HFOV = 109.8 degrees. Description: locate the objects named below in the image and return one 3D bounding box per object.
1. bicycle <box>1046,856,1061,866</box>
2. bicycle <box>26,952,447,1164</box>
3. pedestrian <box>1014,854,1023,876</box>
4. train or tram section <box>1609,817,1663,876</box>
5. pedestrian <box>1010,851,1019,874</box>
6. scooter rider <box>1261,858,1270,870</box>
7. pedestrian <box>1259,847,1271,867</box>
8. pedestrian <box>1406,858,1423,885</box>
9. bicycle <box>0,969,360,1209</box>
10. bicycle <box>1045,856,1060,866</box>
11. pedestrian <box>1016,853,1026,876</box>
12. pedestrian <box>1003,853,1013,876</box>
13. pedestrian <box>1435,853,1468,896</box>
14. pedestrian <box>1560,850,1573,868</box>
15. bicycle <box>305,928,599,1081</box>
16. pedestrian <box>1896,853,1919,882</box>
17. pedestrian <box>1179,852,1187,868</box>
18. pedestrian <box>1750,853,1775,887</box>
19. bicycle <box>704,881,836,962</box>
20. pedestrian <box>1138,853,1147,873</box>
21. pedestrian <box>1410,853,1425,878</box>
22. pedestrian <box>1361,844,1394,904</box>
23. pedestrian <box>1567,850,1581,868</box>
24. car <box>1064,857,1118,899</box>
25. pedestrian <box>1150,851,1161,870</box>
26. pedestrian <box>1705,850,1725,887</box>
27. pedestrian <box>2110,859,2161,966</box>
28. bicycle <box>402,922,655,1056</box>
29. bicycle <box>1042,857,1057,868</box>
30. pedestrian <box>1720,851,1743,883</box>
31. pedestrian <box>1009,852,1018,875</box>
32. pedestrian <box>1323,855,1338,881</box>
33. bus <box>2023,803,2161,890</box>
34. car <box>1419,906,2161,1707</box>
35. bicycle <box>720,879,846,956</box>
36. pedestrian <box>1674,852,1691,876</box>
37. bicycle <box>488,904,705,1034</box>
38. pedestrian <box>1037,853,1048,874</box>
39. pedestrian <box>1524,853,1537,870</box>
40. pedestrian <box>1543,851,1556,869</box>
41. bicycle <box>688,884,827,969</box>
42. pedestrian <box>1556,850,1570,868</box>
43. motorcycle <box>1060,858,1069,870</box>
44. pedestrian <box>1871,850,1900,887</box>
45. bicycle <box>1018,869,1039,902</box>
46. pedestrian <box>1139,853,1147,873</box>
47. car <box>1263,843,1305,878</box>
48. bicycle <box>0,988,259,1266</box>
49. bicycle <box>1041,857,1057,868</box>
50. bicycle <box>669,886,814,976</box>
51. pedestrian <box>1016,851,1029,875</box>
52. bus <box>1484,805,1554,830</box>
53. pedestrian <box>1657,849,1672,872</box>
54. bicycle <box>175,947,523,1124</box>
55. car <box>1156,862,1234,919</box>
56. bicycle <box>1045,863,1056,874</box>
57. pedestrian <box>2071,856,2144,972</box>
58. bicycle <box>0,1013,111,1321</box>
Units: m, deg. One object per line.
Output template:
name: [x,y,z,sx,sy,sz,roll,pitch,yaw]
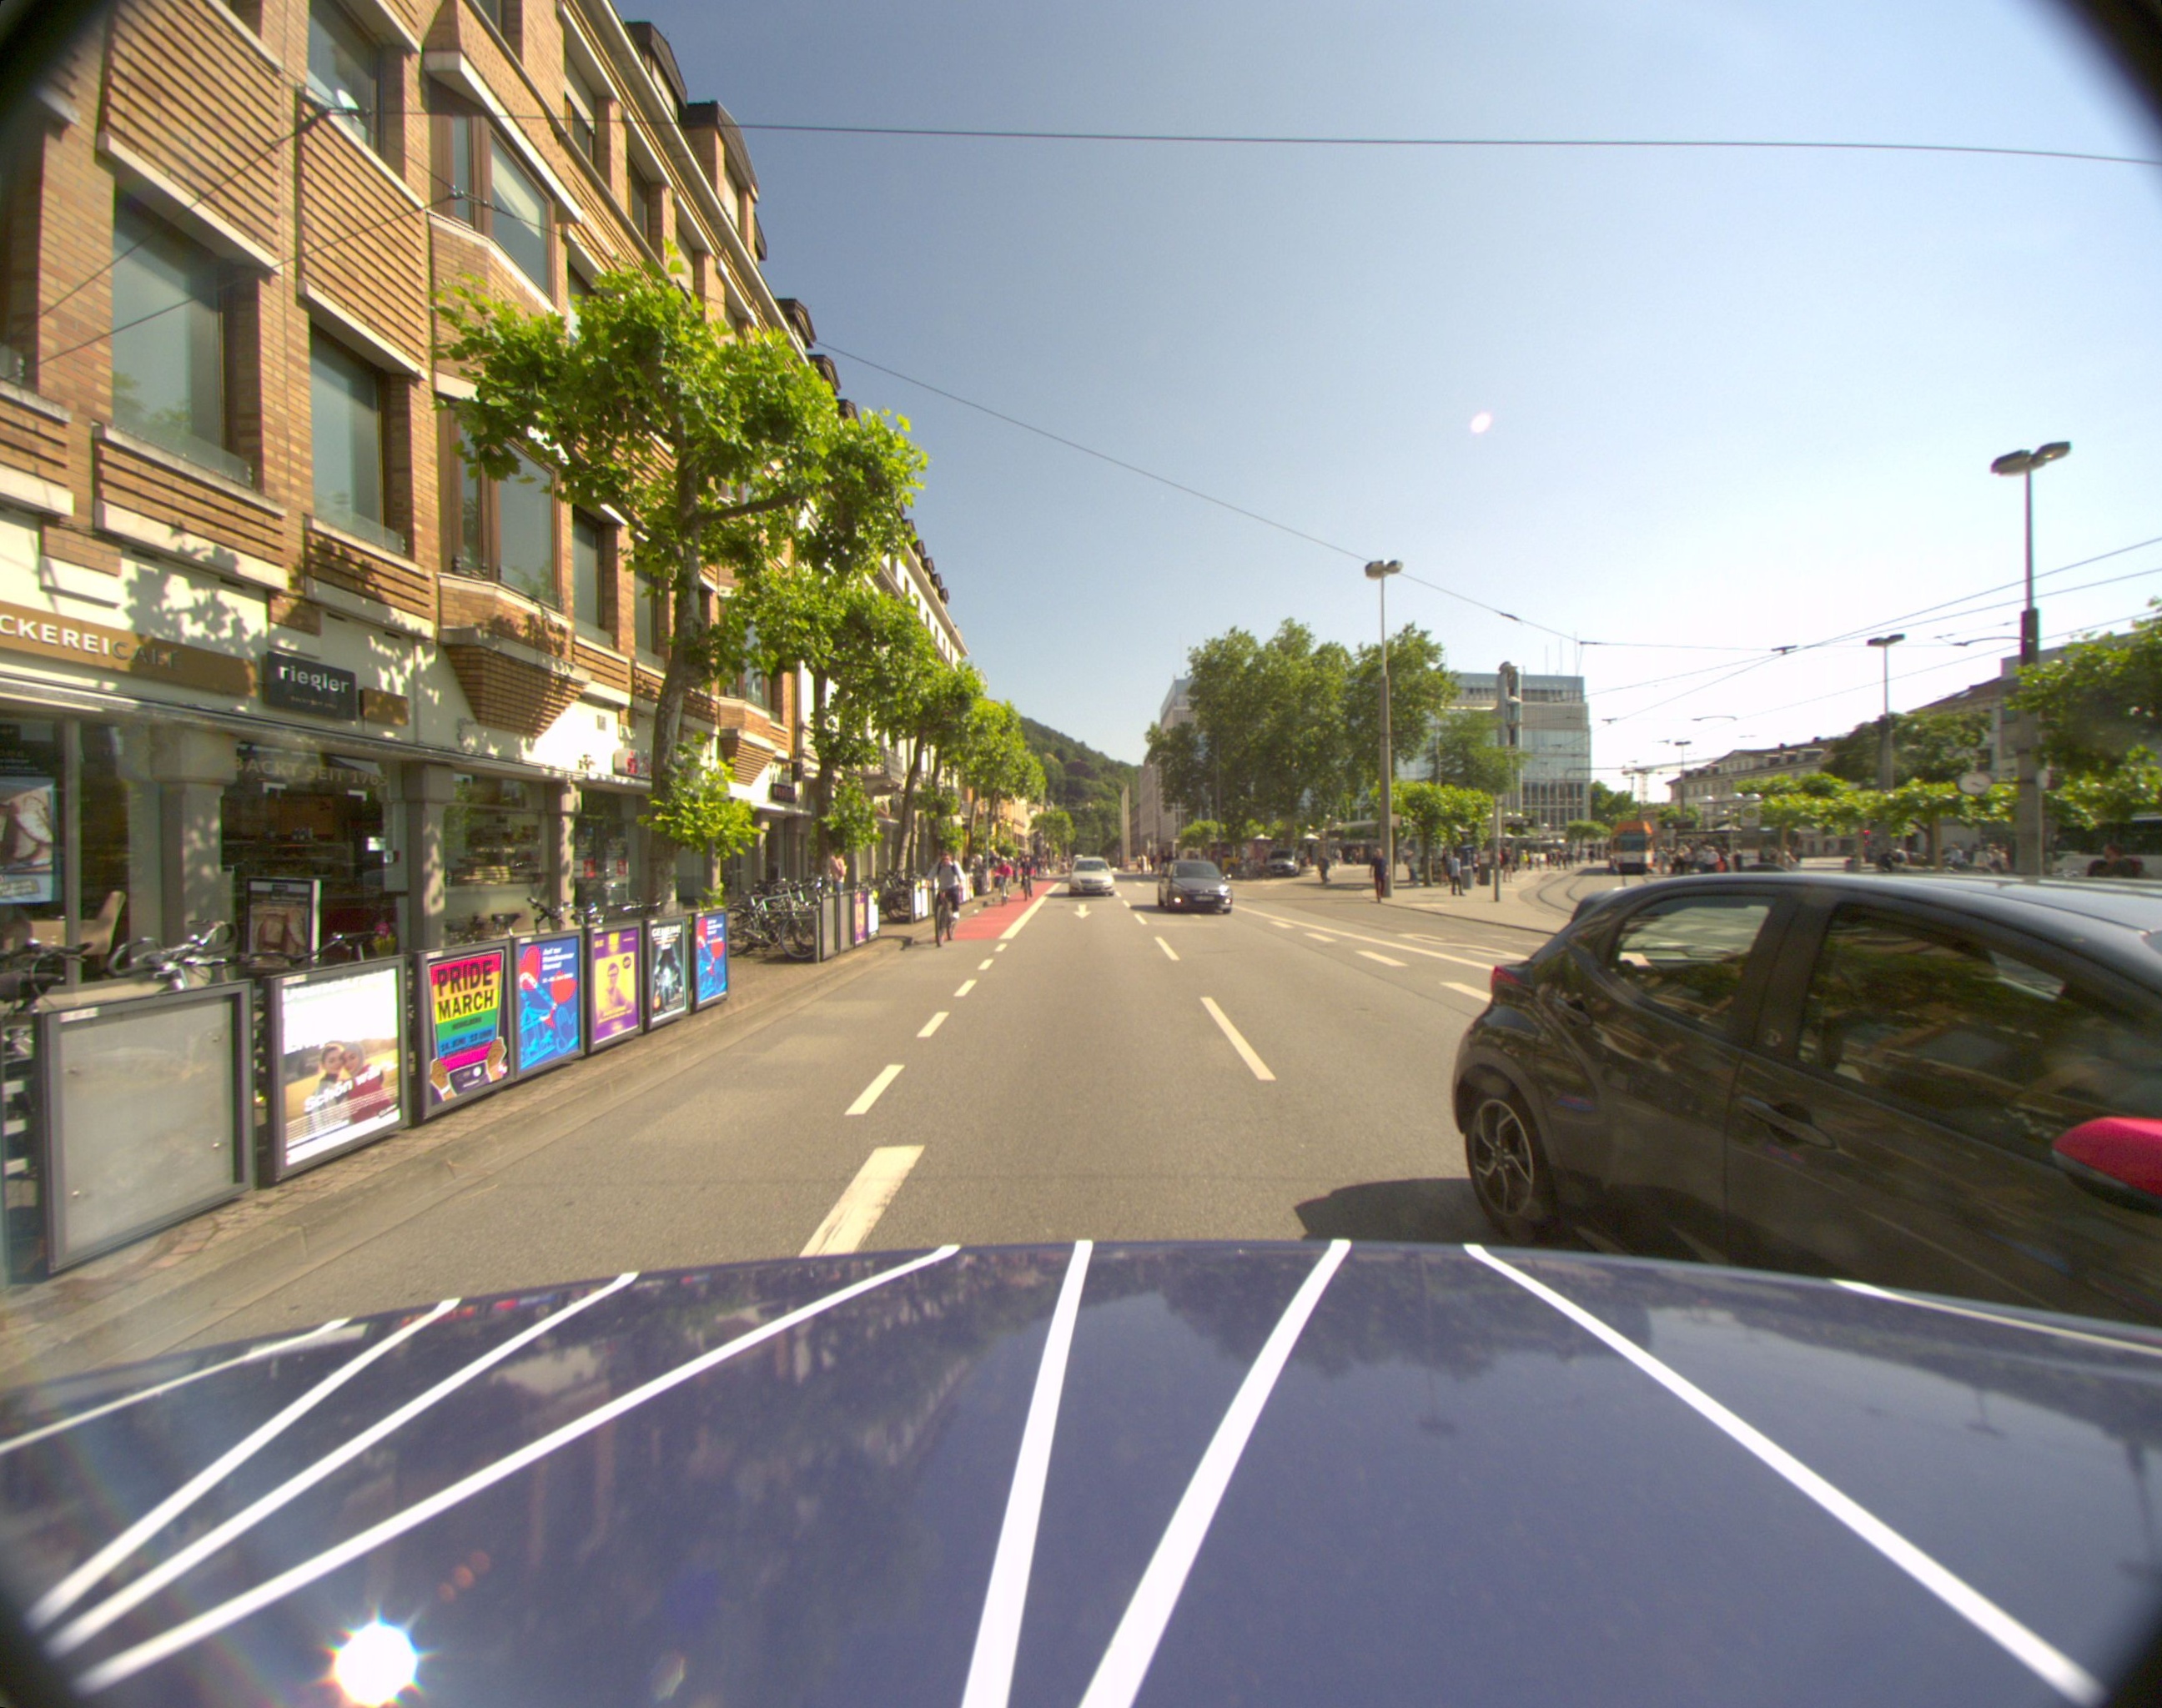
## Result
bicycle: [-3.330,0.803,92.157,1.757,1.140,0.592,-2,1,-2]
bicycle: [-4.698,1.117,4.296,1.757,1.012,0.483,-2,1,-2]
pedestrian: [-4.643,0.803,56.429,0.578,1.574,0.622,-3,1,-3]
train or tram section: [39.381,-0.647,54.121,2.615,3.805,9.536,-3,1,34]
pedestrian: [-5.071,0.641,57.887,0.578,1.729,0.622,-3,1,-3]
scooter rider: [13.273,0.742,54.611,0.506,0.834,0.349,-3,1,34]
pedestrian: [13.444,0.207,55.521,0.579,1.452,0.787,-2,1,34]
pedestrian: [15.830,0.816,36.068,0.577,1.227,0.555,-2,2,35]
bicycle: [-4.693,1.127,3.746,1.757,1.012,0.483,-1,1,-2]
bicycle: [-3.389,0.865,90.678,1.757,1.140,0.592,-2,1,-2]
pedestrian: [-4.388,0.769,55.532,0.578,1.675,0.775,-3,1,-3]
pedestrian: [-5.396,0.795,56.354,0.578,1.675,0.622,-3,1,-3]
pedestrian: [14.369,0.790,29.470,0.895,1.649,0.680,0,1,-9]
pedestrian: [41.490,0.419,64.931,0.757,1.464,0.555,-3,1,0]
bicycle: [-4.713,1.113,5.755,1.757,1.012,0.483,-2,1,-2]
pedestrian: [41.554,0.668,38.198,0.626,1.457,0.679,1,0,-33]
pedestrian: [11.006,0.678,82.192,0.732,1.660,0.640,-3,1,14]
pedestrian: [28.209,0.663,31.452,0.682,1.410,0.623,1,0,-38]
bicycle: [-4.698,1.010,11.536,1.757,1.140,0.483,-2,1,-2]
pedestrian: [5.659,0.826,69.707,0.639,1.737,0.733,-3,1,-1]
pedestrian: [19.494,0.677,44.079,0.727,1.457,0.681,1,0,21]
pedestrian: [10.105,0.660,25.905,0.897,1.996,0.678,0,1,-43]
pedestrian: [41.354,0.430,63.726,0.757,1.464,0.555,-3,1,0]
car: [0.400,0.885,29.866,1.918,1.401,4.000,-3,0,1]
pedestrian: [7.078,0.599,72.271,0.751,1.737,0.733,-3,1,-10]
pedestrian: [29.298,0.664,35.128,0.473,1.656,0.521,1,0,-22]
pedestrian: [16.557,0.890,11.710,0.525,1.600,0.627,1,0,10]
bicycle: [-4.690,1.134,6.514,1.757,1.012,0.483,-2,1,-2]
bicycle: [-3.578,0.964,86.501,1.757,1.140,0.592,-2,1,-2]
pedestrian: [29.437,0.588,34.391,0.626,1.457,0.552,1,0,-22]
pedestrian: [-5.071,0.698,57.229,0.578,1.714,0.622,-3,1,-3]
pedestrian: [13.769,0.774,41.989,0.624,1.457,0.680,0,1,0]
bus: [44.327,-0.366,29.814,3.060,3.400,12.475,-3,0,19]
car: [2.372,0.993,1.526,1.781,1.466,4.001,0,1,3]
bicycle: [-4.697,0.993,12.036,1.757,1.140,0.483,-2,1,-2]
pedestrian: [39.902,0.676,50.401,0.681,1.540,0.577,1,0,-26]
bicycle: [-4.713,1.104,7.447,1.757,1.140,0.483,-2,1,-2]
pedestrian: [-3.143,0.767,62.335,0.579,1.675,0.726,-3,1,-22]
pedestrian: [38.371,0.631,64.883,0.757,1.464,0.555,-3,1,0]
pedestrian: [39.815,0.522,64.575,0.757,1.464,0.555,-3,1,0]
bicycle: [-4.678,1.039,11.049,1.757,1.140,0.483,-2,1,-2]
pedestrian: [40.750,0.449,64.275,0.757,1.464,0.555,-3,1,0]
motorcycle: [-1.567,0.961,72.457,0.736,1.086,1.898,-3,1,1]
pedestrian: [33.597,0.610,31.744,0.600,1.543,0.530,1,0,3]
bicycle: [-1.889,1.128,27.483,0.667,1.086,1.897,-3,1,-2]
pedestrian: [5.465,0.785,66.676,0.575,1.704,0.652,-3,1,-1]
car: [13.373,0.378,49.895,1.996,2.002,5.074,-3,1,22]
bicycle: [-4.668,1.129,3.230,1.757,1.012,0.483,0,1,-2]
bicycle: [-3.641,0.995,87.334,1.757,1.140,0.592,-2,1,-2]
bicycle: [-4.682,1.056,10.540,1.757,1.140,0.483,-2,1,-2]
pedestrian: [-4.173,0.662,54.297,0.620,1.675,0.579,-2,1,39]
bus: [57.210,-4.797,99.040,12.201,2.774,2.384,-3,1,-32]
pedestrian: [39.844,0.458,51.870,0.681,1.540,0.577,1,0,-26]
bicycle: [-4.702,1.153,4.945,1.721,0.979,0.483,-2,1,-2]
car: [3.172,0.978,21.858,1.699,1.397,4.000,1,1,1]
bicycle: [-2.981,1.423,75.120,0.737,1.087,1.895,-2,2,-13]
pedestrian: [15.793,0.893,11.689,0.527,1.723,0.586,1,0,-30]
bicycle: [-4.665,1.133,2.692,1.757,1.012,0.483,0,1,-2]
